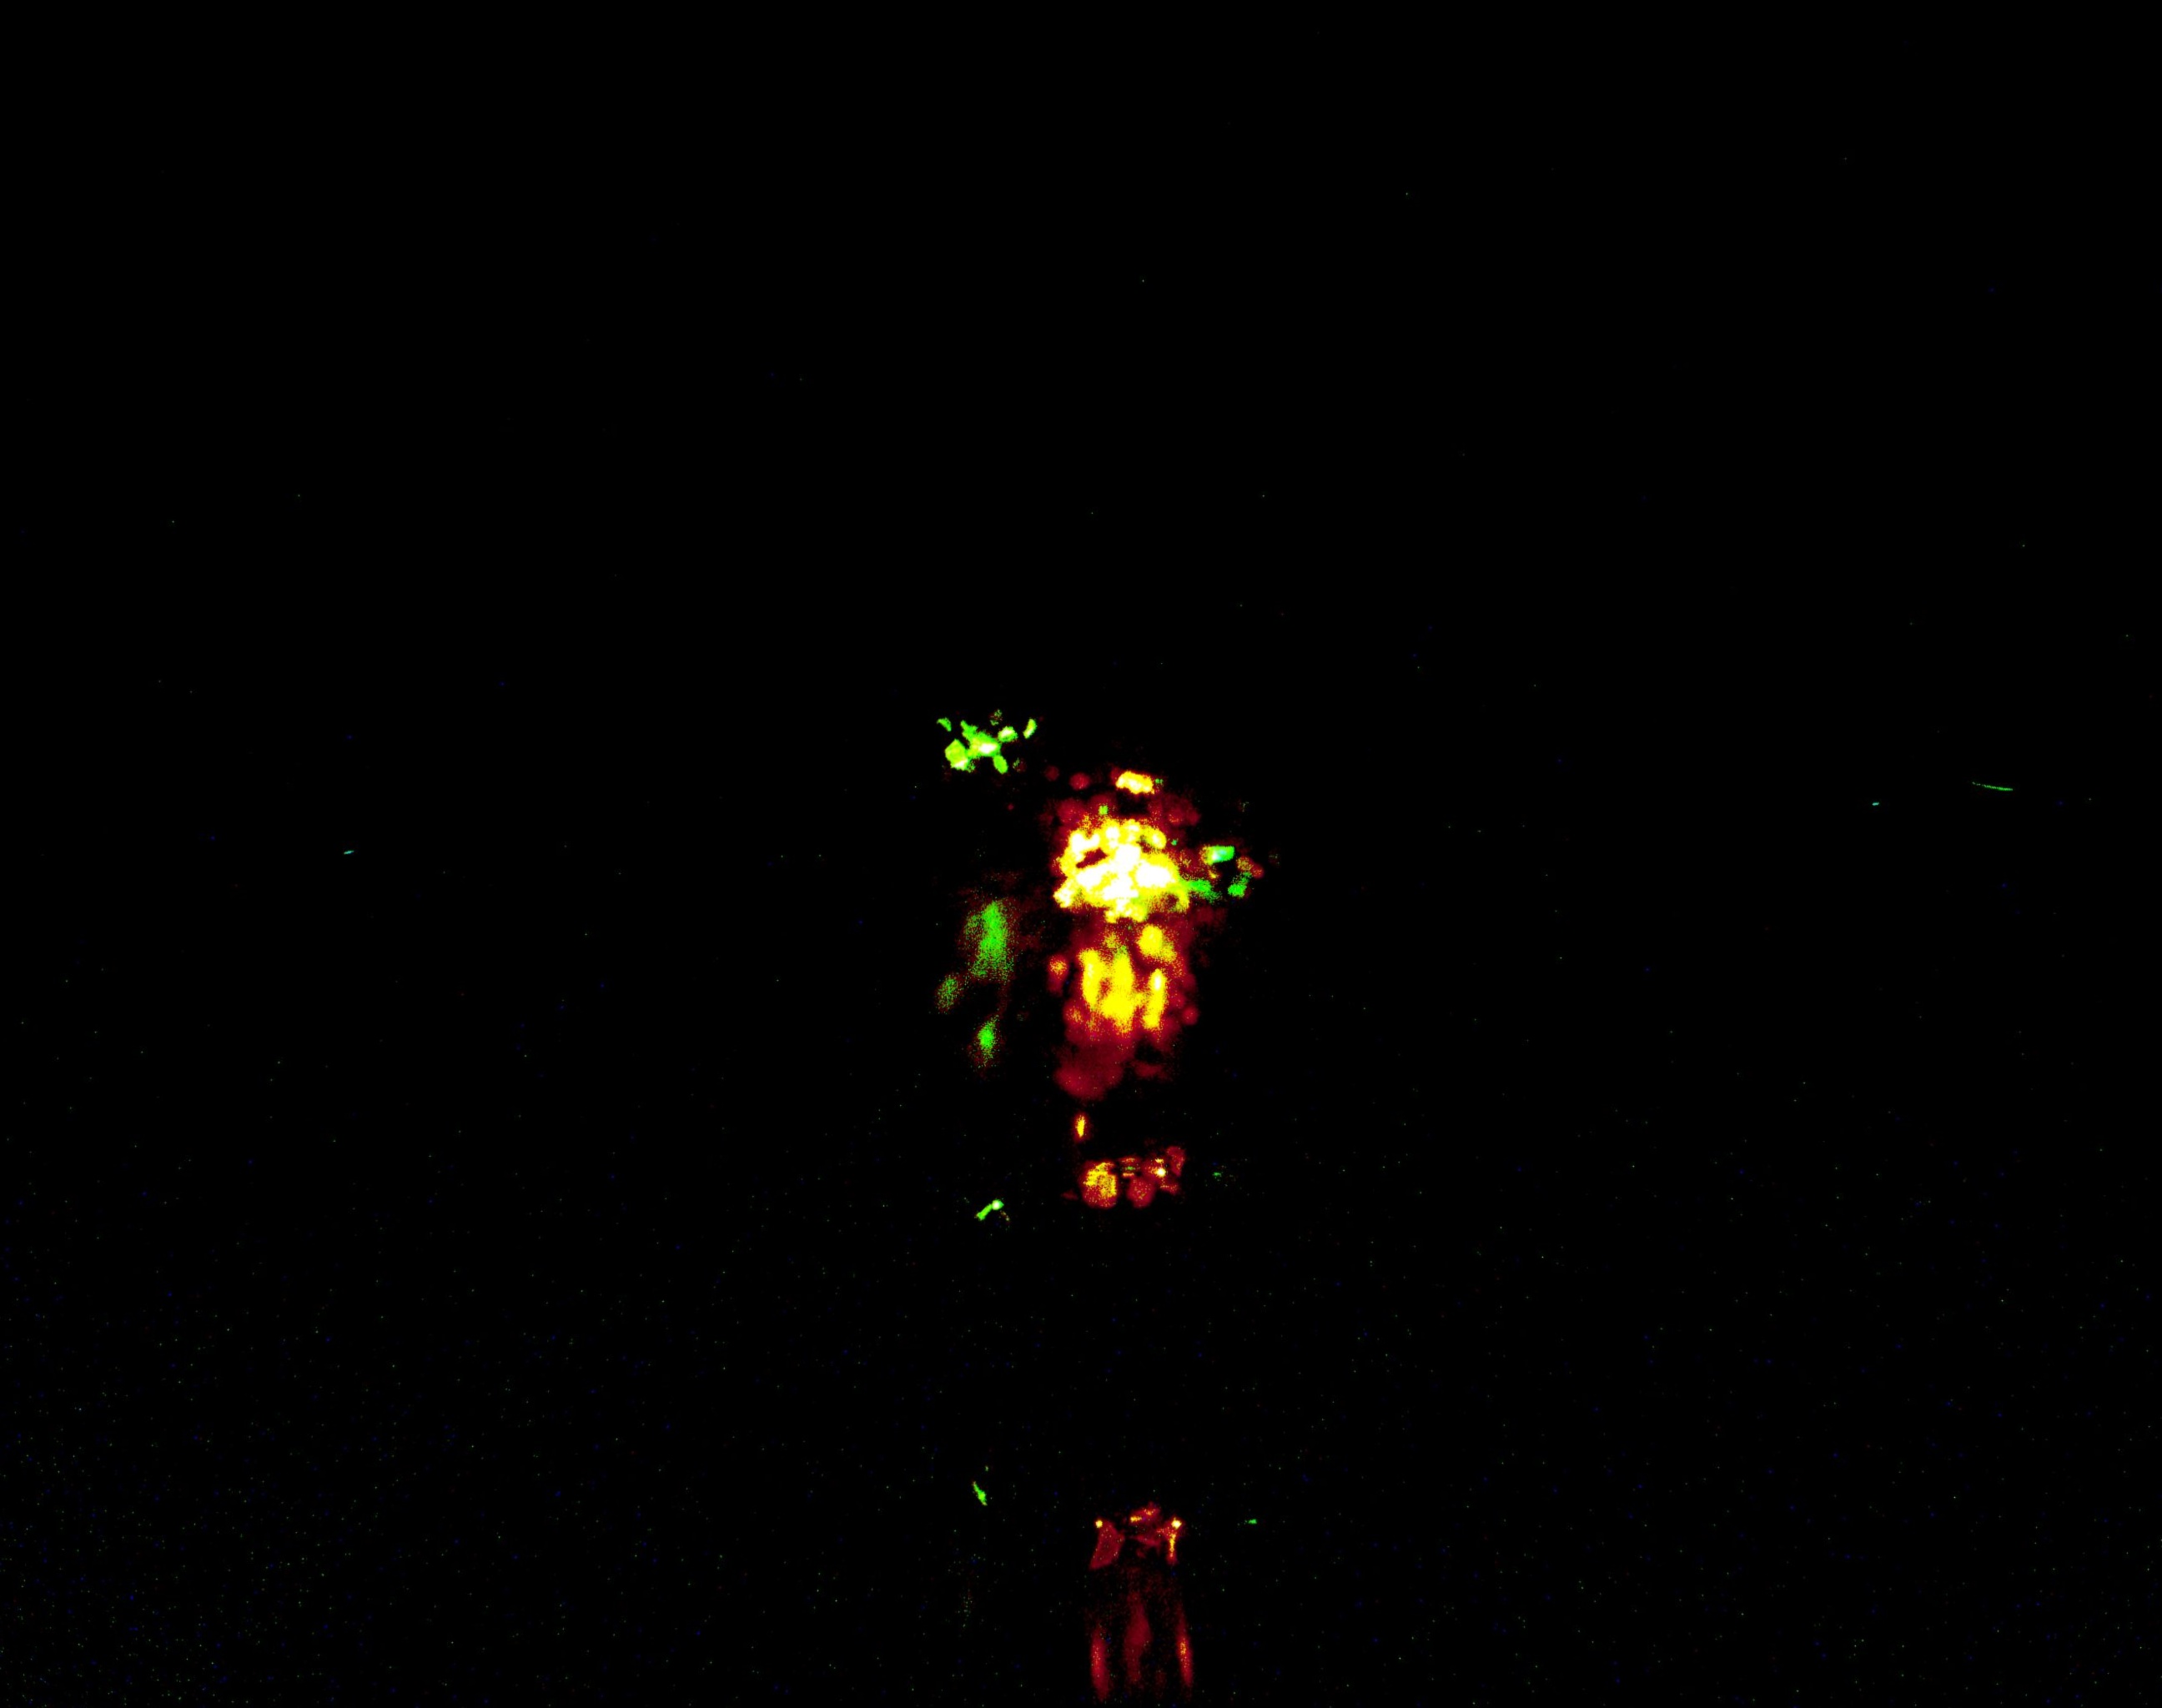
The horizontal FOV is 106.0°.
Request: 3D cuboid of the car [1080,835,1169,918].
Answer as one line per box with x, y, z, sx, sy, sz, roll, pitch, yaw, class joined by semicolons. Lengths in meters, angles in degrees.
1.057;0.452;18.650;1.782;1.681;3.909;-1;0;5;car
